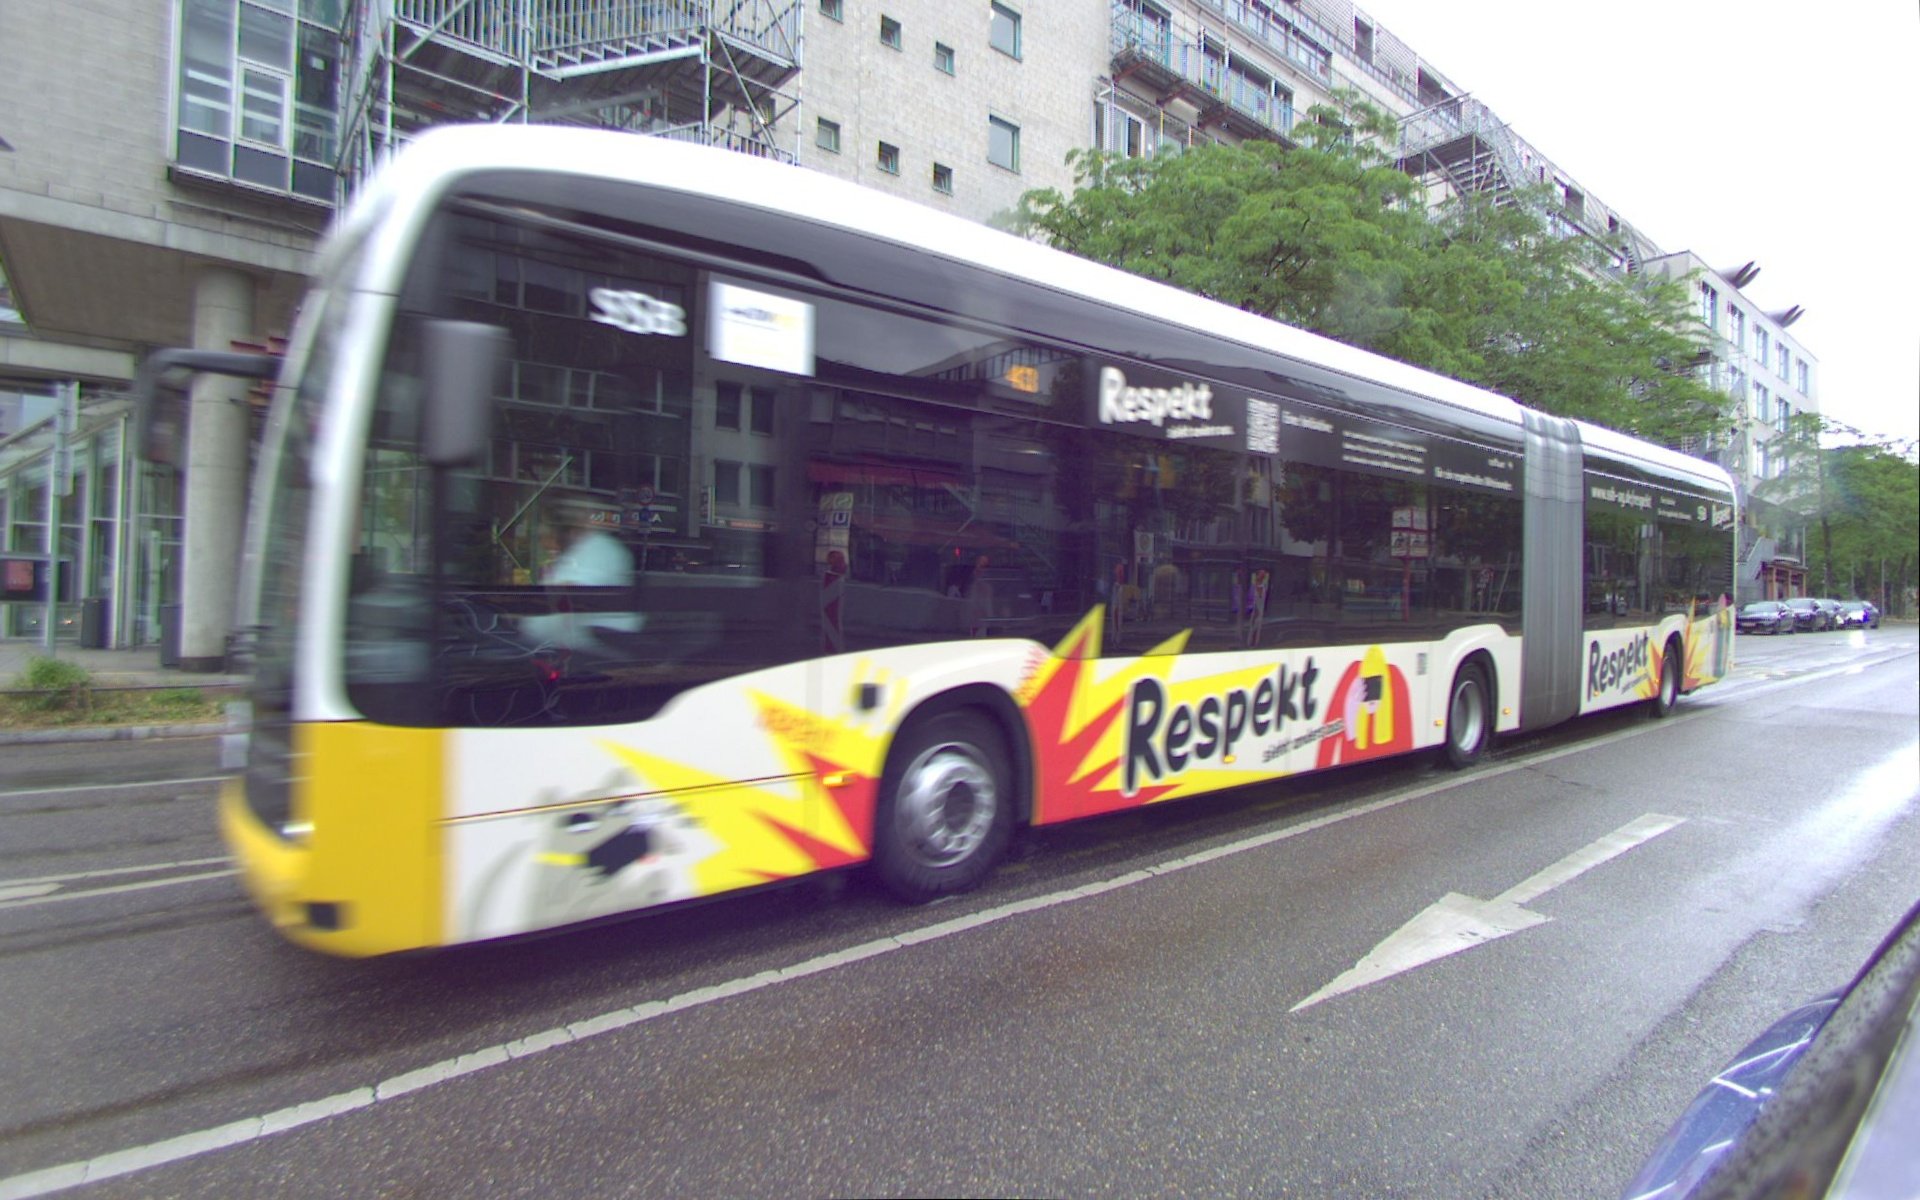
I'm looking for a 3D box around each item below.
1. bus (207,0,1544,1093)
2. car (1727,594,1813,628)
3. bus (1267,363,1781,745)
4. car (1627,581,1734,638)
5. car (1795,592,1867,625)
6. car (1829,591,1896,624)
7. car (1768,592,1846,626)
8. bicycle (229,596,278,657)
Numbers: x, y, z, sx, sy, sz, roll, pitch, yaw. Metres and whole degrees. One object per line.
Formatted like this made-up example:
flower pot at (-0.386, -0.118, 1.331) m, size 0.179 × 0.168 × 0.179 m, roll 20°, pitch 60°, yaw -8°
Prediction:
bus at (0.744, -0.387, 7.156) m, size 9.586 × 3.494 × 2.888 m, roll -1°, pitch 0°, yaw -41°
car at (35.100, 0.435, 43.813) m, size 4.733 × 1.353 × 2.145 m, roll -1°, pitch 1°, yaw -41°
bus at (8.011, -0.473, 13.450) m, size 9.541 × 3.483 × 2.888 m, roll -1°, pitch 0°, yaw -41°
car at (26.074, 0.298, 36.585) m, size 4.254 × 1.930 × 2.211 m, roll -1°, pitch 0°, yaw -41°
car at (44.368, 0.375, 51.525) m, size 4.733 × 1.580 × 2.145 m, roll -1°, pitch 1°, yaw -41°
car at (48.941, 0.364, 54.850) m, size 4.733 × 1.667 × 2.145 m, roll -1°, pitch 0°, yaw -41°
car at (40.256, 0.403, 48.063) m, size 4.733 × 1.513 × 2.145 m, roll -1°, pitch 1°, yaw -41°
bicycle at (-14.485, 0.521, 20.745) m, size 0.577 × 1.209 × 1.611 m, roll 0°, pitch 0°, yaw -44°
